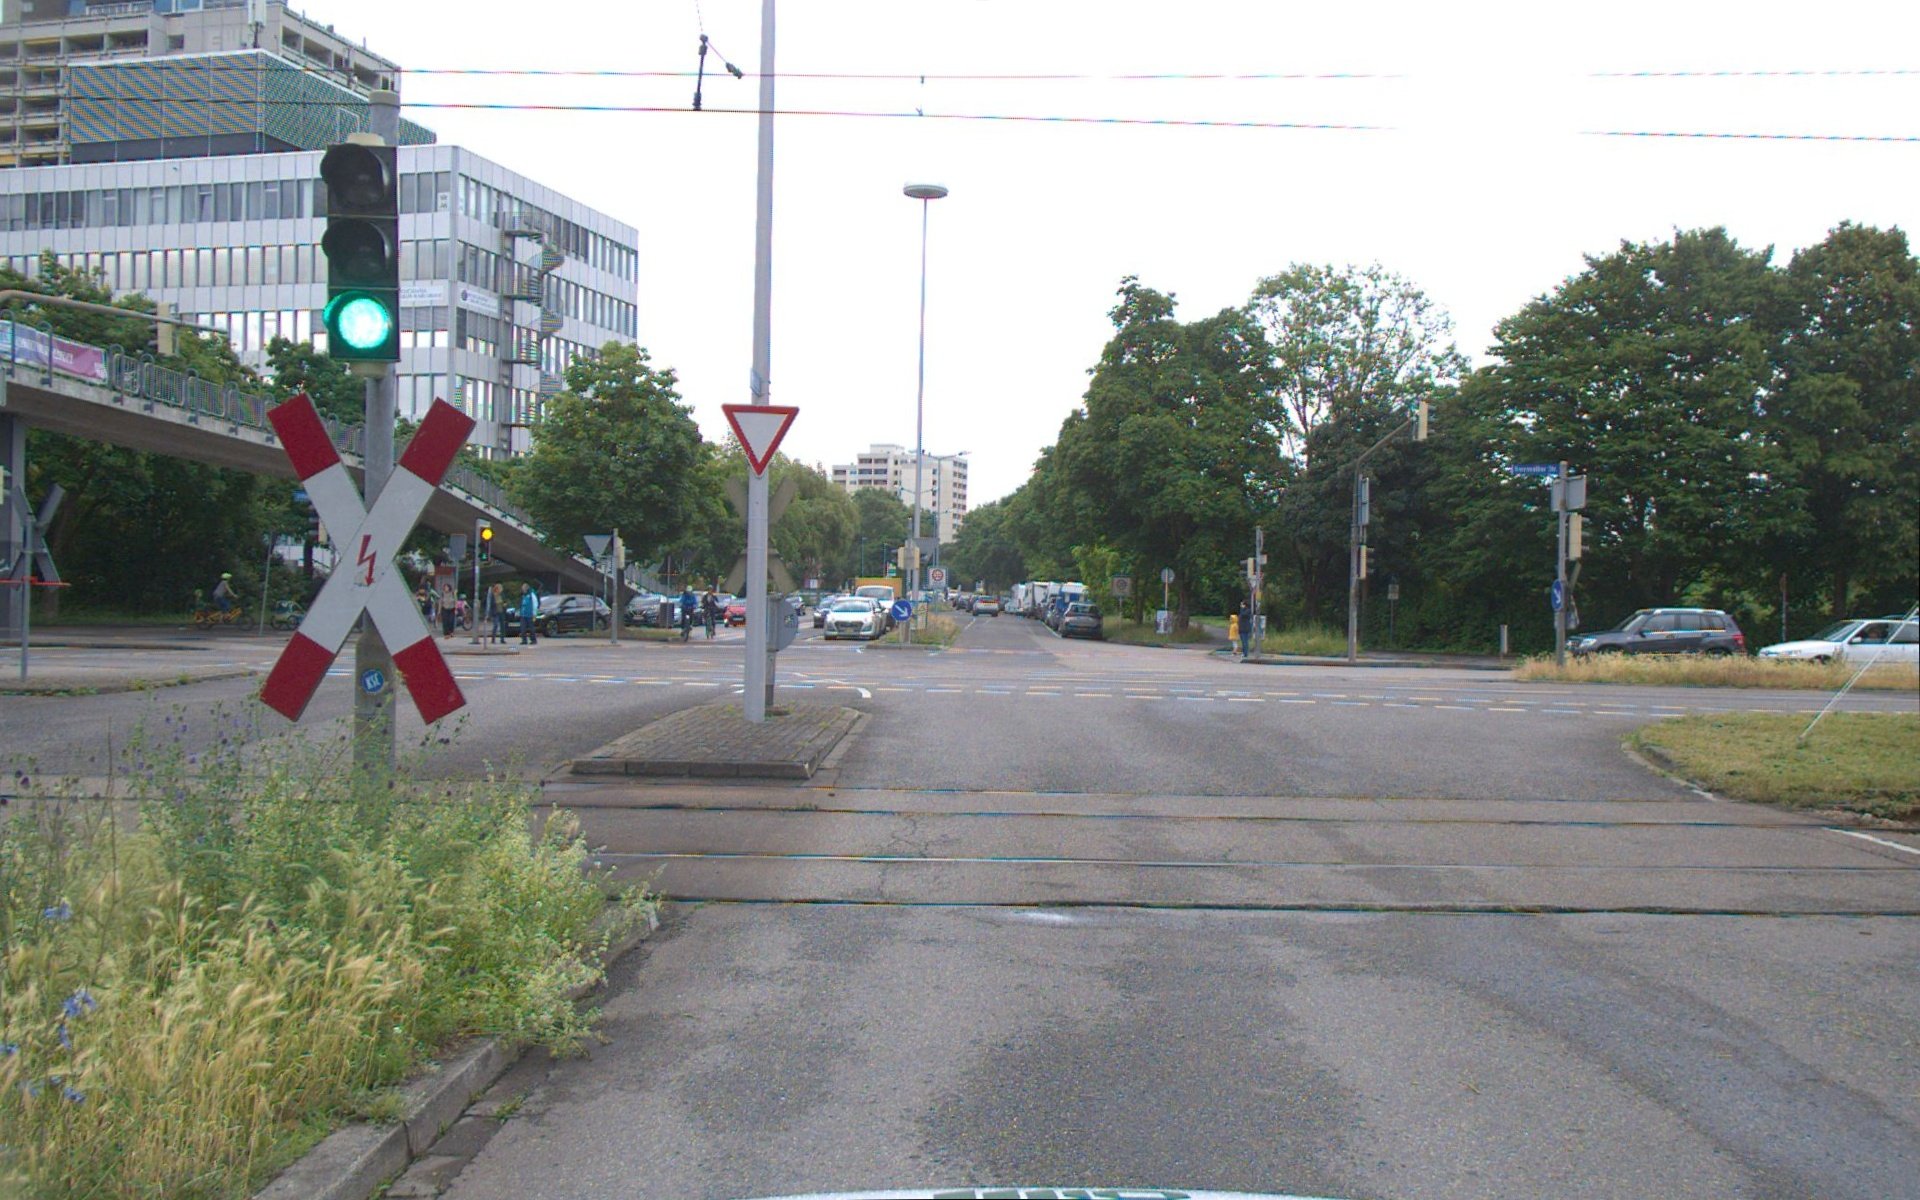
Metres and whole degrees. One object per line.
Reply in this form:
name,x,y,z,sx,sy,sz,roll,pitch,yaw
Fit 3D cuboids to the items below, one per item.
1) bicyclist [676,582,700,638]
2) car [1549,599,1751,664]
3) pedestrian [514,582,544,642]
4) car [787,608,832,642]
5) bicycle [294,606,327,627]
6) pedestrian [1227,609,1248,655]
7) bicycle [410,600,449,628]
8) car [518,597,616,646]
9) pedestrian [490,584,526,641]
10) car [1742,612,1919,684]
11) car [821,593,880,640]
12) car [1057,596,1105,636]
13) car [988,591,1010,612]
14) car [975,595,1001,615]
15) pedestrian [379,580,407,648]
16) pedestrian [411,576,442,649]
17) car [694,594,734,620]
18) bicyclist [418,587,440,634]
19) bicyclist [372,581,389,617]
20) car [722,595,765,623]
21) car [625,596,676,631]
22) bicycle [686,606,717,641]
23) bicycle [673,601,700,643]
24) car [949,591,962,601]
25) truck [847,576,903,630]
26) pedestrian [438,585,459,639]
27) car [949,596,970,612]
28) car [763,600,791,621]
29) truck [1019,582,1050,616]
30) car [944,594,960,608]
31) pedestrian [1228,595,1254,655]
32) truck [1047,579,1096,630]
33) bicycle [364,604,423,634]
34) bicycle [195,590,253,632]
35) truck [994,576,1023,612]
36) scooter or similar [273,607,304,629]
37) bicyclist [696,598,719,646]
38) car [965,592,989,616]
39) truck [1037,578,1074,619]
bicyclist,-8.785,0.318,53.366,0.631,1.799,0.646,1,0,-1
car,17.492,0.783,42.058,4.373,1.530,1.846,1,0,0
pedestrian,-11.846,0.333,45.469,0.673,1.633,0.487,1,0,-5
car,-7.107,1.146,78.561,1.734,1.503,4.389,1,0,0
bicycle,-22.225,0.569,56.613,0.283,0.704,1.298,1,0,18
pedestrian,8.369,0.961,49.869,0.516,1.365,0.525,1,0,-1
bicycle,-18.971,0.498,59.194,0.618,0.941,2.523,1,0,-1
car,-13.434,0.710,56.789,1.636,1.579,4.003,1,0,13
pedestrian,-12.464,0.346,45.615,0.901,1.537,0.403,1,0,-12
car,18.727,0.996,34.471,4.052,1.381,1.647,1,0,0
car,-3.743,0.542,57.118,1.753,1.545,4.325,1,0,-1
car,5.385,0.681,73.971,1.747,1.691,3.999,1,0,-1
car,3.736,0.144,158.933,1.619,1.952,3.915,1,1,-5
car,2.246,0.425,133.297,1.979,1.531,3.999,1,0,-1
pedestrian,-14.421,0.359,42.078,0.608,1.721,0.404,1,0,-15
pedestrian,-13.694,0.319,42.471,0.625,1.835,0.800,1,0,-10
car,-14.116,0.375,95.075,1.727,1.419,3.999,1,0,-1
bicyclist,-18.977,0.379,59.116,0.553,1.673,0.531,1,-1,0
bicyclist,-19.477,-0.043,55.571,0.396,1.202,0.377,1,1,1
car,-11.093,0.473,84.926,1.480,1.414,3.534,1,0,3
car,-14.464,0.604,77.385,1.637,1.579,3.892,1,0,0
bicycle,-8.847,0.787,56.597,0.712,1.120,2.264,1,0,-1
bicycle,-8.867,0.703,53.681,0.532,1.289,2.110,1,0,-1
car,-0.722,-0.646,251.719,1.979,1.531,3.999,1,0,-1
truck,-3.637,0.117,71.916,2.111,2.237,5.840,1,0,0
pedestrian,-15.468,0.366,50.018,0.570,1.607,0.777,1,0,-19
car,-0.048,0.379,159.718,1.979,1.531,3.999,1,0,-1
car,-13.929,0.794,126.124,1.637,1.579,4.000,1,0,0
truck,5.941,-0.050,132.202,1.954,2.618,5.375,1,0,-3
car,-0.887,0.130,185.460,1.523,1.531,3.997,1,0,-4
pedestrian,8.371,0.743,49.257,0.643,1.780,0.459,1,0,-1
truck,6.069,0.265,90.781,2.130,2.703,6.245,0,0,-1
bicycle,-18.995,0.637,55.481,0.747,0.965,1.953,1,0,23
bicycle,-23.830,0.364,53.539,1.683,1.327,0.386,1,0,-26
truck,4.165,-0.489,142.970,1.954,3.061,5.767,1,0,-4
scooter or similar,-22.548,0.593,55.512,0.396,0.727,0.997,1,0,18
bicyclist,-8.739,0.761,57.289,0.665,1.622,0.695,1,-1,-1
car,1.456,0.307,143.445,1.979,1.992,3.999,1,0,-1
truck,6.901,-0.126,120.144,1.954,2.888,5.726,1,0,-4
